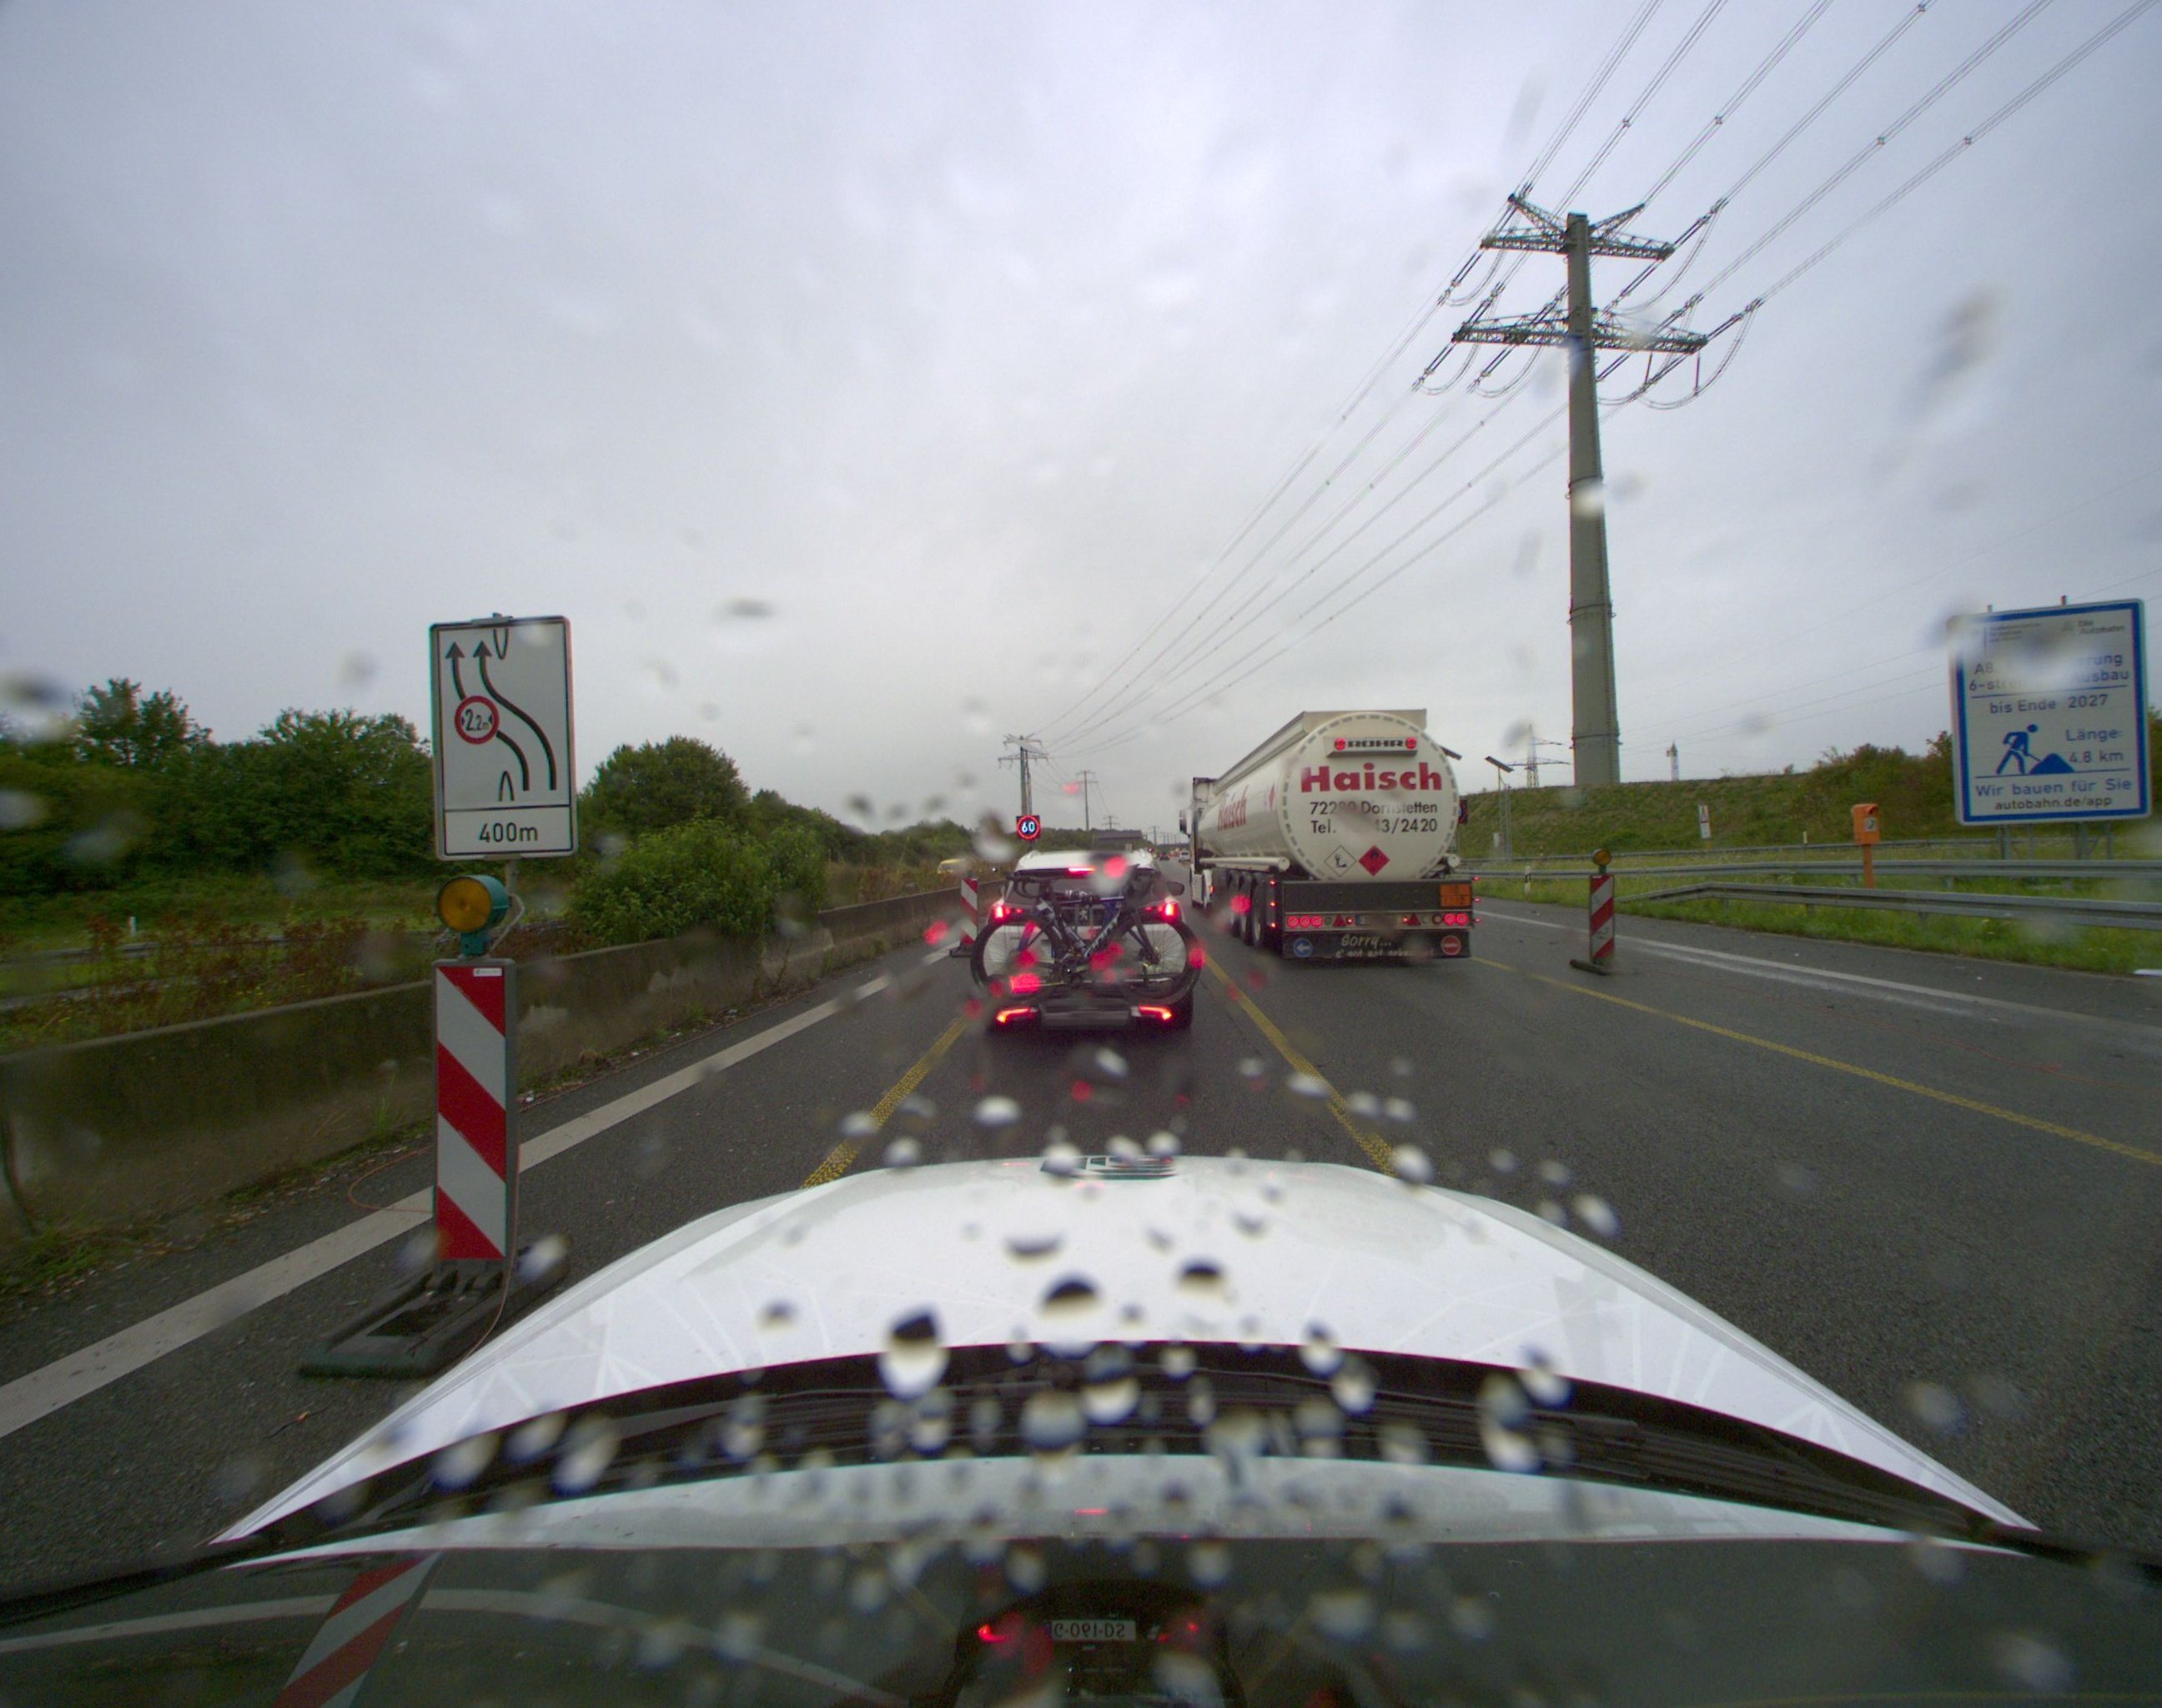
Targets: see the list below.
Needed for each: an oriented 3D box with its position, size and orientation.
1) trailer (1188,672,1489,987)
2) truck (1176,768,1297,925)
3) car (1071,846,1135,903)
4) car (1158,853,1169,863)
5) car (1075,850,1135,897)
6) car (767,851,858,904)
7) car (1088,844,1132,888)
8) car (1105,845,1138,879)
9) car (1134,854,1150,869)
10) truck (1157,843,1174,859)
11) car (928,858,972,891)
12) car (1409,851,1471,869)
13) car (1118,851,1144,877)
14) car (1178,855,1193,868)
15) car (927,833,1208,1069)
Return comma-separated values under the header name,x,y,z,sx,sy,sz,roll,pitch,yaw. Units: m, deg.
name,x,y,z,sx,sy,sz,roll,pitch,yaw
trailer,3.889,-0.247,15.401,2.628,3.893,10.547,0,-1,2
truck,4.090,-0.168,22.214,2.635,3.891,4.031,0,-1,2
car,0.819,0.661,28.309,1.985,1.760,4.004,-3,0,3
car,16.828,0.779,166.103,1.986,2.014,4.001,0,-1,2
car,0.879,0.656,29.650,1.986,1.584,4.002,-1,0,2
car,-13.744,1.131,42.214,2.229,2.440,5.891,-2,0,5
car,1.450,0.556,40.484,1.986,2.013,4.002,-3,0,2
car,2.639,0.487,53.150,1.986,2.013,4.002,-3,0,2
car,8.346,1.070,111.548,1.986,2.014,4.001,0,-1,2
truck,22.178,-0.752,213.962,3.715,3.822,11.880,-2,0,4
car,-8.932,1.348,56.006,1.985,2.047,4.782,-2,0,3
car,25.568,0.435,58.067,1.492,1.161,3.868,-3,0,-31
car,3.960,0.821,65.337,1.986,2.014,4.001,0,-1,2
car,17.268,1.159,134.155,1.986,2.013,4.002,-3,0,2
car,0.067,0.674,7.910,1.919,1.611,4.600,-1,0,4
